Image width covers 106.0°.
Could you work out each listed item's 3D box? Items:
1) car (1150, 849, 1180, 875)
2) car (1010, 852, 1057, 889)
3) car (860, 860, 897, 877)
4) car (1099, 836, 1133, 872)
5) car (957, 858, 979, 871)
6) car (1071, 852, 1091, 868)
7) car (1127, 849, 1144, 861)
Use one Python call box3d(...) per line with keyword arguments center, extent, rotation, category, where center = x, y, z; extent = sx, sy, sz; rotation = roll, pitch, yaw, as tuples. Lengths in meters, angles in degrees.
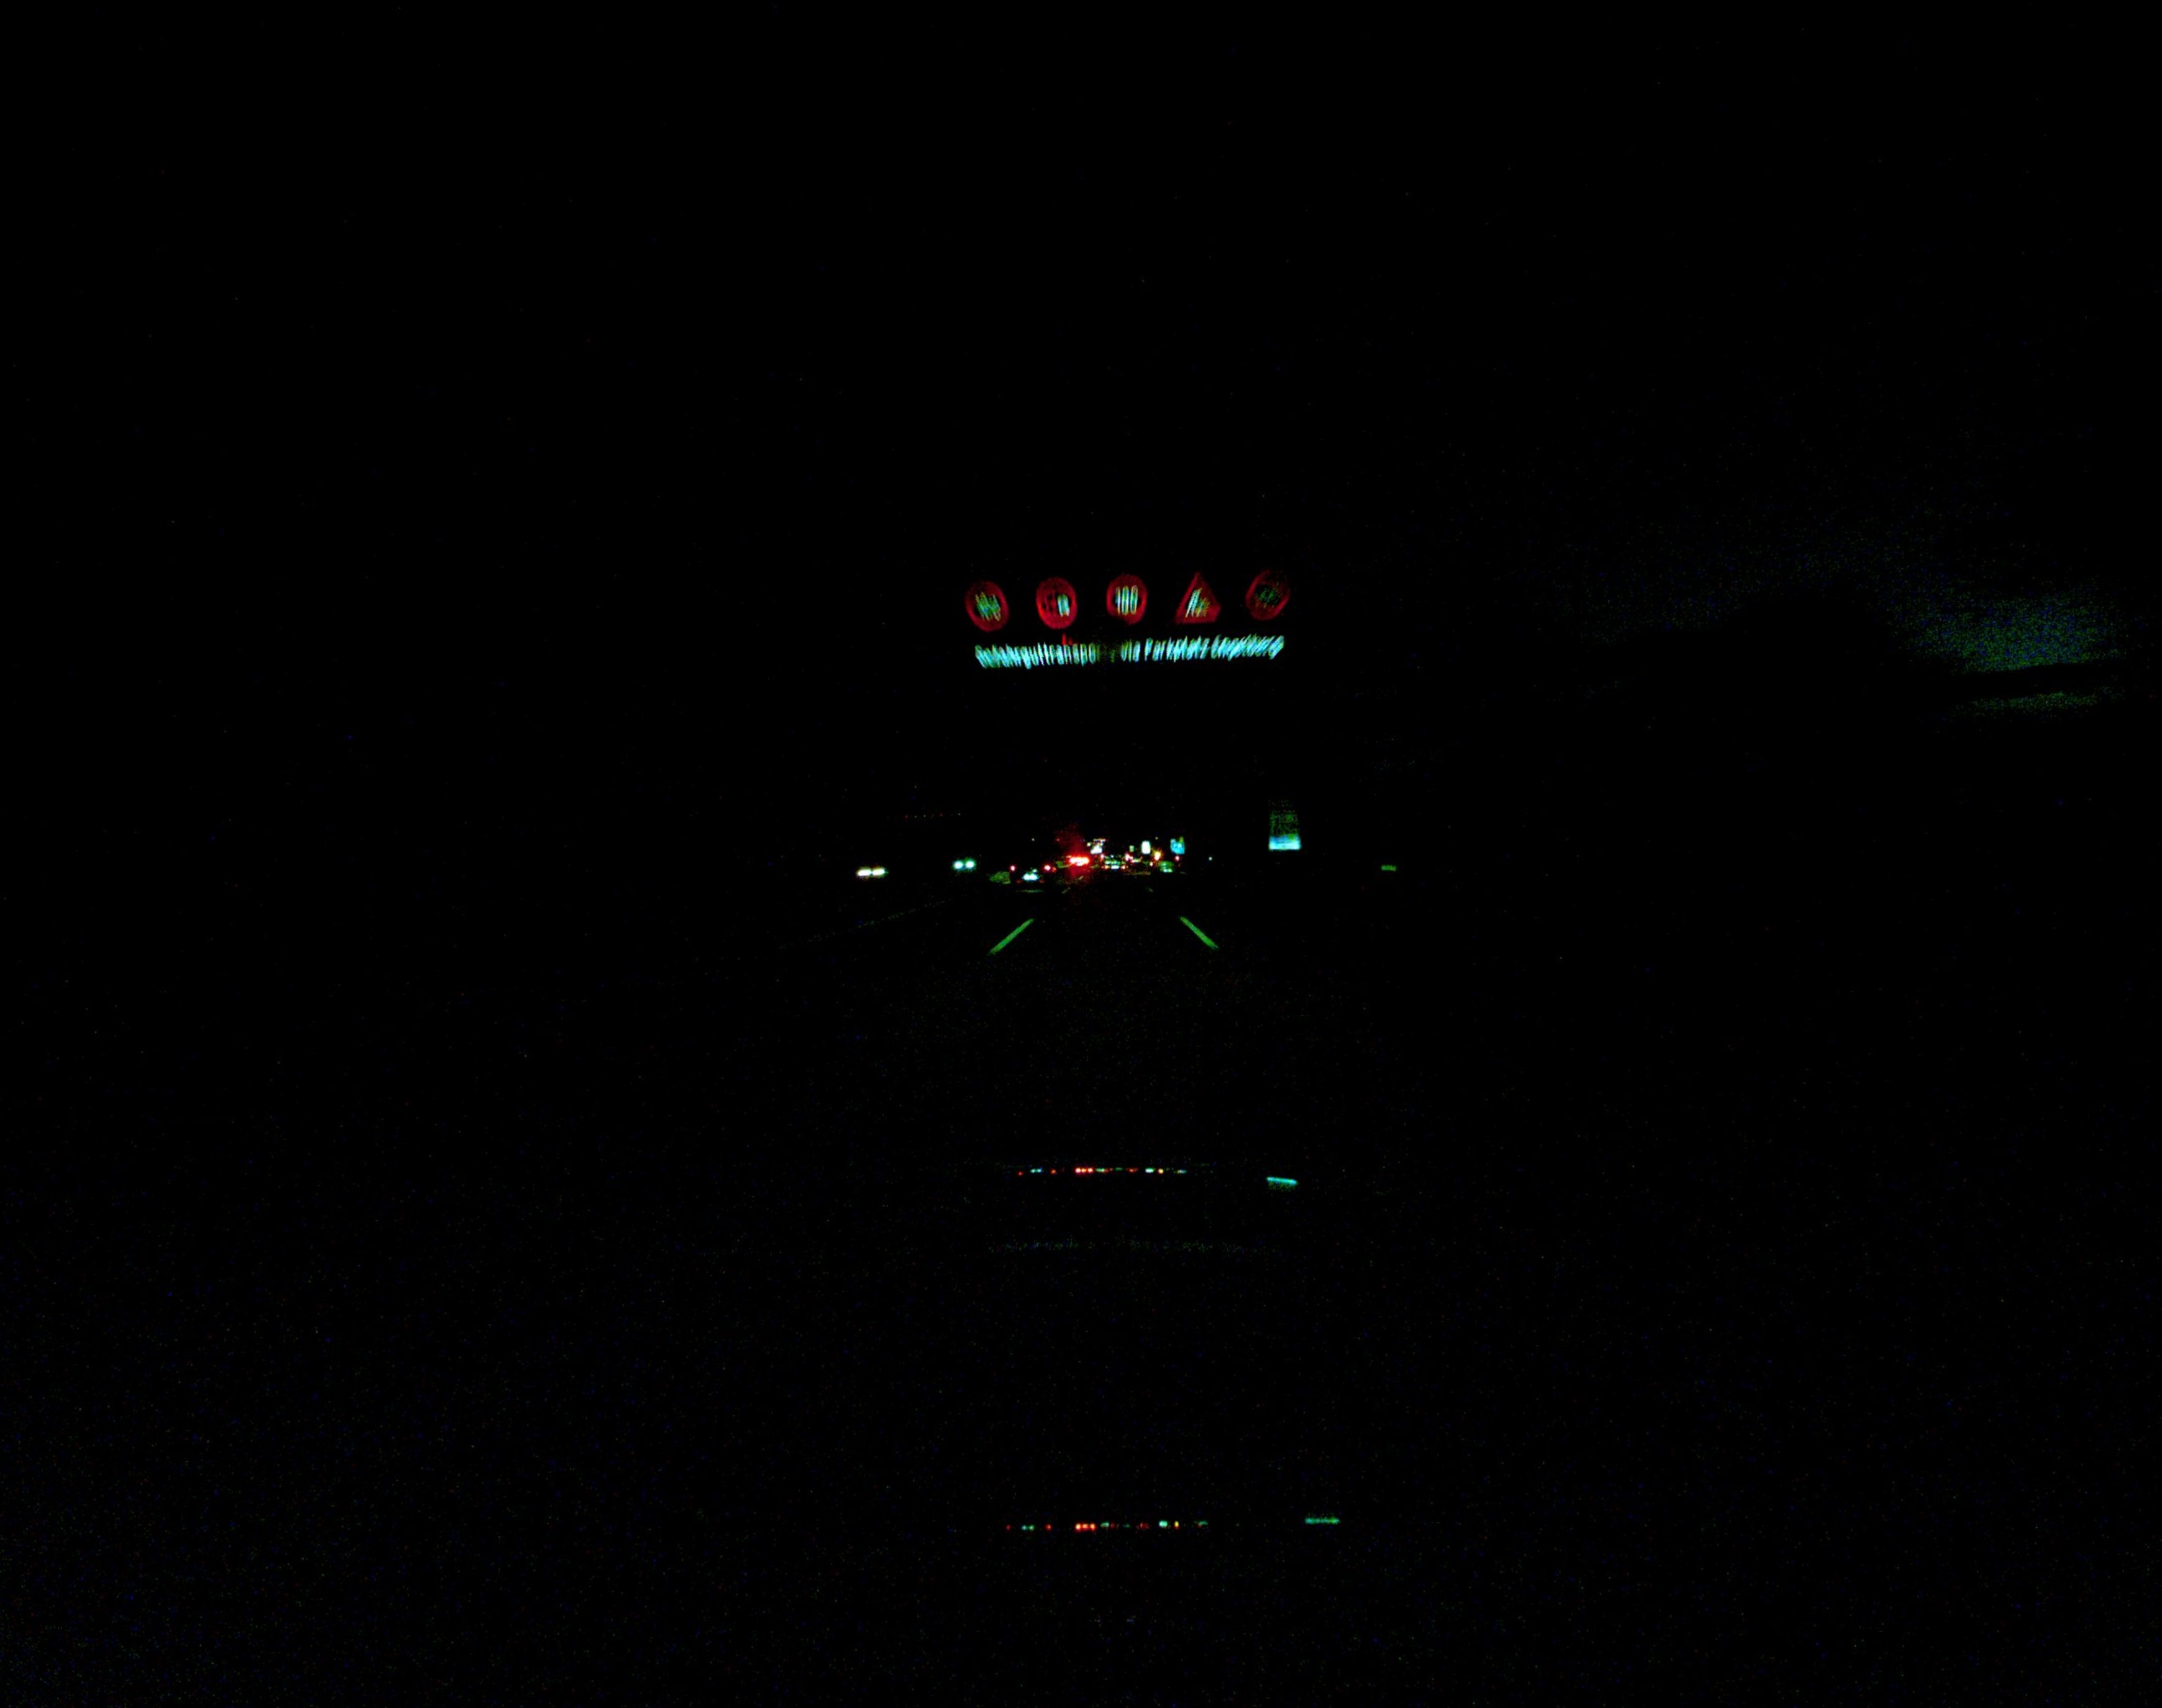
box3d(center=(5.413, 0.494, 52.920), extent=(1.640, 1.596, 4.511), rotation=(-1, 0, 1), category="car")
box3d(center=(-1.992, 0.682, 35.082), extent=(1.788, 1.469, 3.773), rotation=(0, 0, 0), category="car")
box3d(center=(-17.177, 1.219, 69.350), extent=(1.896, 1.282, 4.352), rotation=(-2, 0, 2), category="car")
box3d(center=(2.591, -0.035, 60.991), extent=(2.342, 2.535, 5.704), rotation=(-2, 0, 2), category="car")
box3d(center=(-15.104, 1.377, 109.265), extent=(1.956, 1.538, 5.188), rotation=(-2, 0, 2), category="car")
box3d(center=(-0.003, 0.581, 81.365), extent=(1.738, 1.440, 4.370), rotation=(-2, 0, 2), category="car")
box3d(center=(7.462, 0.159, 112.336), extent=(2.154, 1.563, 4.725), rotation=(-1, 0, 2), category="car")
